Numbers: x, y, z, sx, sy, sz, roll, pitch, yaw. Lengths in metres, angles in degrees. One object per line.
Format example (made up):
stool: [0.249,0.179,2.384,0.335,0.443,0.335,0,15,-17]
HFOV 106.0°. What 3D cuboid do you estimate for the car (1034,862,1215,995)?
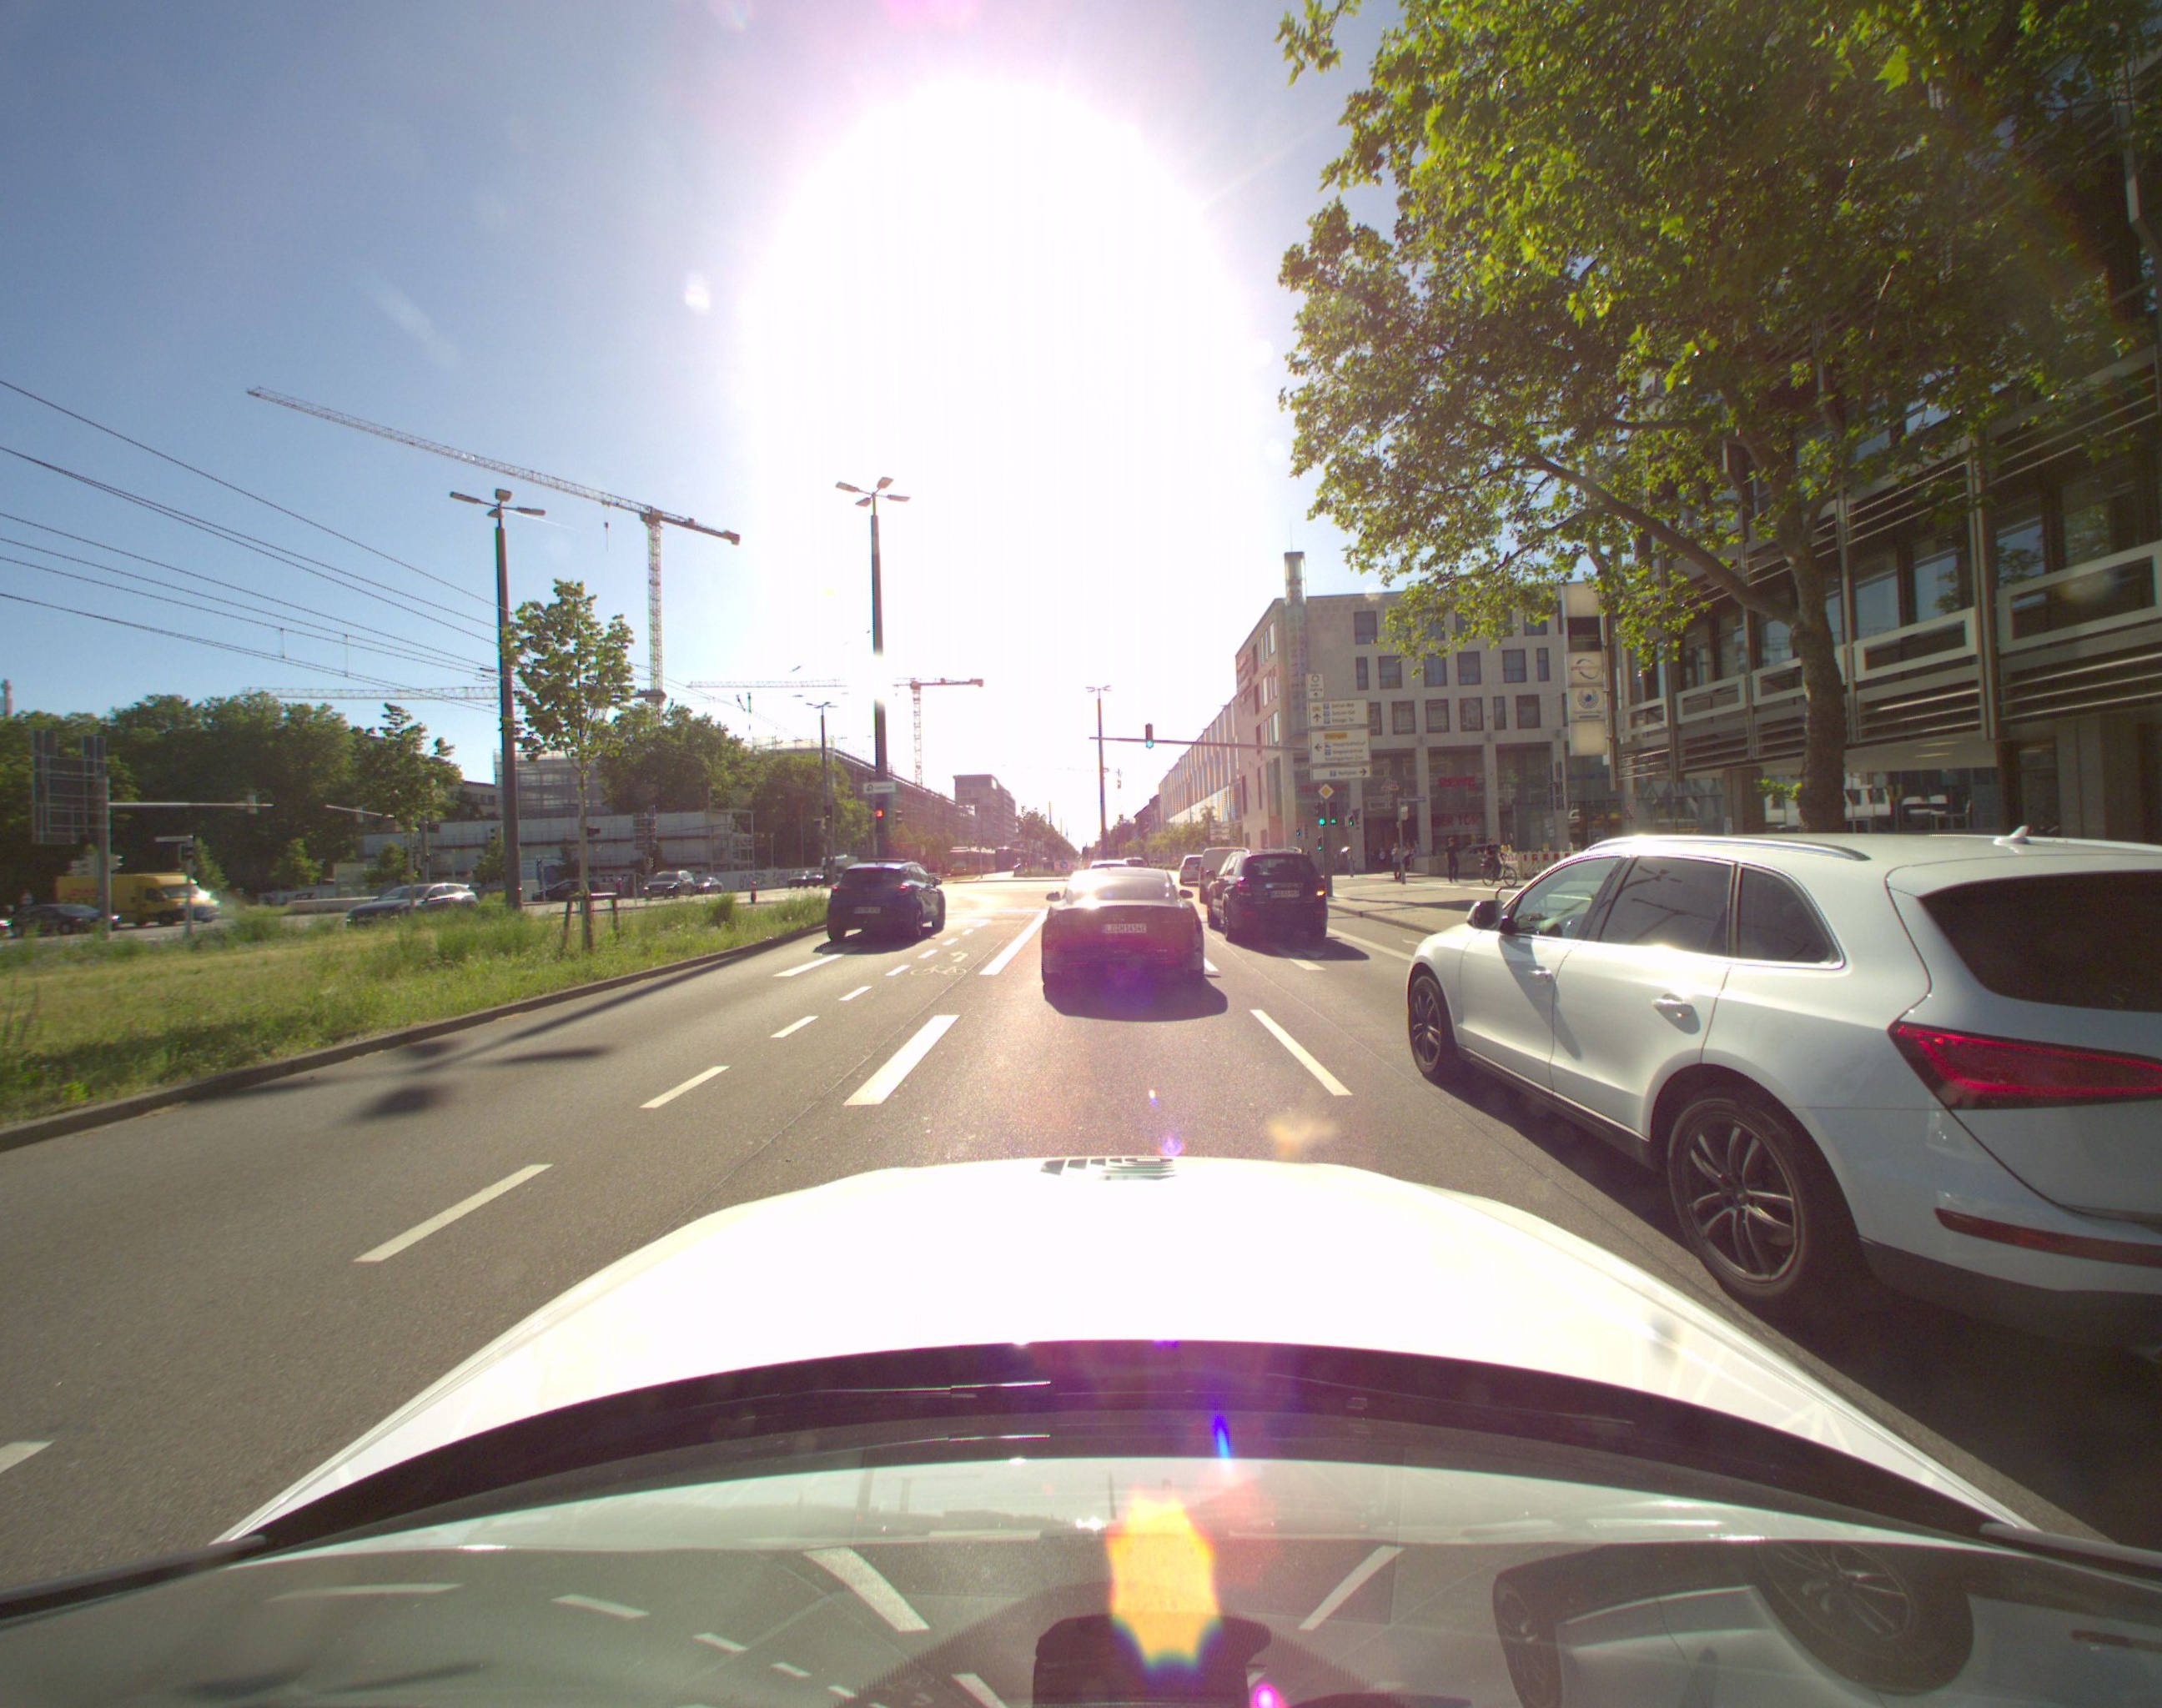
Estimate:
car: [0.572,0.851,11.314,1.991,1.434,4.414,-1,0,2]

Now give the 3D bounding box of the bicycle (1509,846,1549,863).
bicycle: [31.499,0.055,57.388,1.061,1.094,3.501,-2,0,4]

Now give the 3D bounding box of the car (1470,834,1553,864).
car: [26.838,-0.296,50.853,4.168,1.613,1.862,-2,-2,3]

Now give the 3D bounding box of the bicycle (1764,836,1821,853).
bicycle: [48.932,-0.642,56.087,1.061,1.094,3.501,-2,0,4]

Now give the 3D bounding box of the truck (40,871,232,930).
truck: [-50.238,2.442,43.370,7.967,2.793,2.467,-2,-1,6]

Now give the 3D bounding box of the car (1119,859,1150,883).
car: [3.164,0.969,48.757,1.710,1.320,4.001,-2,0,2]

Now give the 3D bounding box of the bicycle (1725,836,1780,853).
bicycle: [46.631,-0.620,56.627,1.061,1.094,3.501,-2,0,4]

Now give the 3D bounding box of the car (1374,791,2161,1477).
car: [3.128,0.647,4.123,1.812,1.613,4.415,-2,0,2]

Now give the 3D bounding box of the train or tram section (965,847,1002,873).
train or tram section: [-13.005,0.870,109.817,2.838,3.322,15.966,-1,-1,1]

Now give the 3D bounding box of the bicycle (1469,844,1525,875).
bicycle: [14.107,0.190,27.693,0.878,0.984,2.051,-2,0,1]

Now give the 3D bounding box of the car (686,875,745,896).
car: [-30.669,2.636,68.356,1.974,1.601,4.026,-3,-1,33]

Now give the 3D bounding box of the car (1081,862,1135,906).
car: [0.927,0.978,28.193,1.710,1.320,4.001,-2,0,2]

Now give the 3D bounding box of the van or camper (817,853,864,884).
van or camper: [-24.633,1.451,83.690,2.597,2.937,7.340,-2,0,0]

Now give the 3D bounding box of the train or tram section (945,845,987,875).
train or tram section: [-13.283,0.689,95.325,2.860,3.310,13.073,0,0,1]

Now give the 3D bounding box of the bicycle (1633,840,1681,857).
bicycle: [40.306,-0.354,57.044,1.061,1.094,3.501,-2,0,4]

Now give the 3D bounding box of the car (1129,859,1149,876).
car: [5.480,1.266,76.886,1.710,1.432,4.001,-2,0,2]

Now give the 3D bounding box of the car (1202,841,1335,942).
car: [3.585,0.661,16.356,1.777,1.699,4.415,-2,0,2]

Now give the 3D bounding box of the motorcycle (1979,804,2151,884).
motorcycle: [19.357,-0.181,16.119,0.820,1.441,2.123,-2,0,2]

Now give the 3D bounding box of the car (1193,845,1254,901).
car: [4.857,0.619,28.126,1.775,1.733,4.171,-2,0,6]

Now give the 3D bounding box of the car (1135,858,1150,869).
car: [8.906,1.350,118.170,1.927,1.542,4.001,-2,0,2]

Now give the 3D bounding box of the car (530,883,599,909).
car: [-36.719,2.959,57.944,4.018,1.601,1.978,-2,-1,-37]

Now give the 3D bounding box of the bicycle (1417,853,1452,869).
bicycle: [25.212,0.475,58.156,1.061,1.094,3.500,-2,0,3]

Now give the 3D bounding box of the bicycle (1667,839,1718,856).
bicycle: [42.624,-0.464,56.815,1.061,1.094,3.501,-2,0,4]

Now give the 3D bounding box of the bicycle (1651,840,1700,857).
bicycle: [41.472,-0.380,56.874,1.061,1.094,3.501,-2,0,4]

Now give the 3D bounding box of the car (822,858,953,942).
car: [-4.011,0.883,17.550,1.764,1.588,4.089,0,0,1]

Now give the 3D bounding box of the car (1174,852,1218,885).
car: [5.779,0.709,41.386,1.777,1.546,4.041,-2,0,2]

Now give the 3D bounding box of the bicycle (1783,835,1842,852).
bicycle: [50.556,-0.723,56.330,1.061,1.094,3.501,-2,0,4]

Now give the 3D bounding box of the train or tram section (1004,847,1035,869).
train or tram section: [-9.676,0.664,131.260,2.860,3.279,22.144,0,0,1]

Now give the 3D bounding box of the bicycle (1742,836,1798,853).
bicycle: [47.799,-0.643,56.572,1.061,1.094,3.501,-2,0,4]

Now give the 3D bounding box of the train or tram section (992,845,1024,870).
train or tram section: [-9.948,0.504,112.587,2.860,3.279,15.186,0,0,1]

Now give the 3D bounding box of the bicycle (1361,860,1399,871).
bicycle: [20.218,0.758,55.066,2.183,0.671,1.073,-2,-1,4]
